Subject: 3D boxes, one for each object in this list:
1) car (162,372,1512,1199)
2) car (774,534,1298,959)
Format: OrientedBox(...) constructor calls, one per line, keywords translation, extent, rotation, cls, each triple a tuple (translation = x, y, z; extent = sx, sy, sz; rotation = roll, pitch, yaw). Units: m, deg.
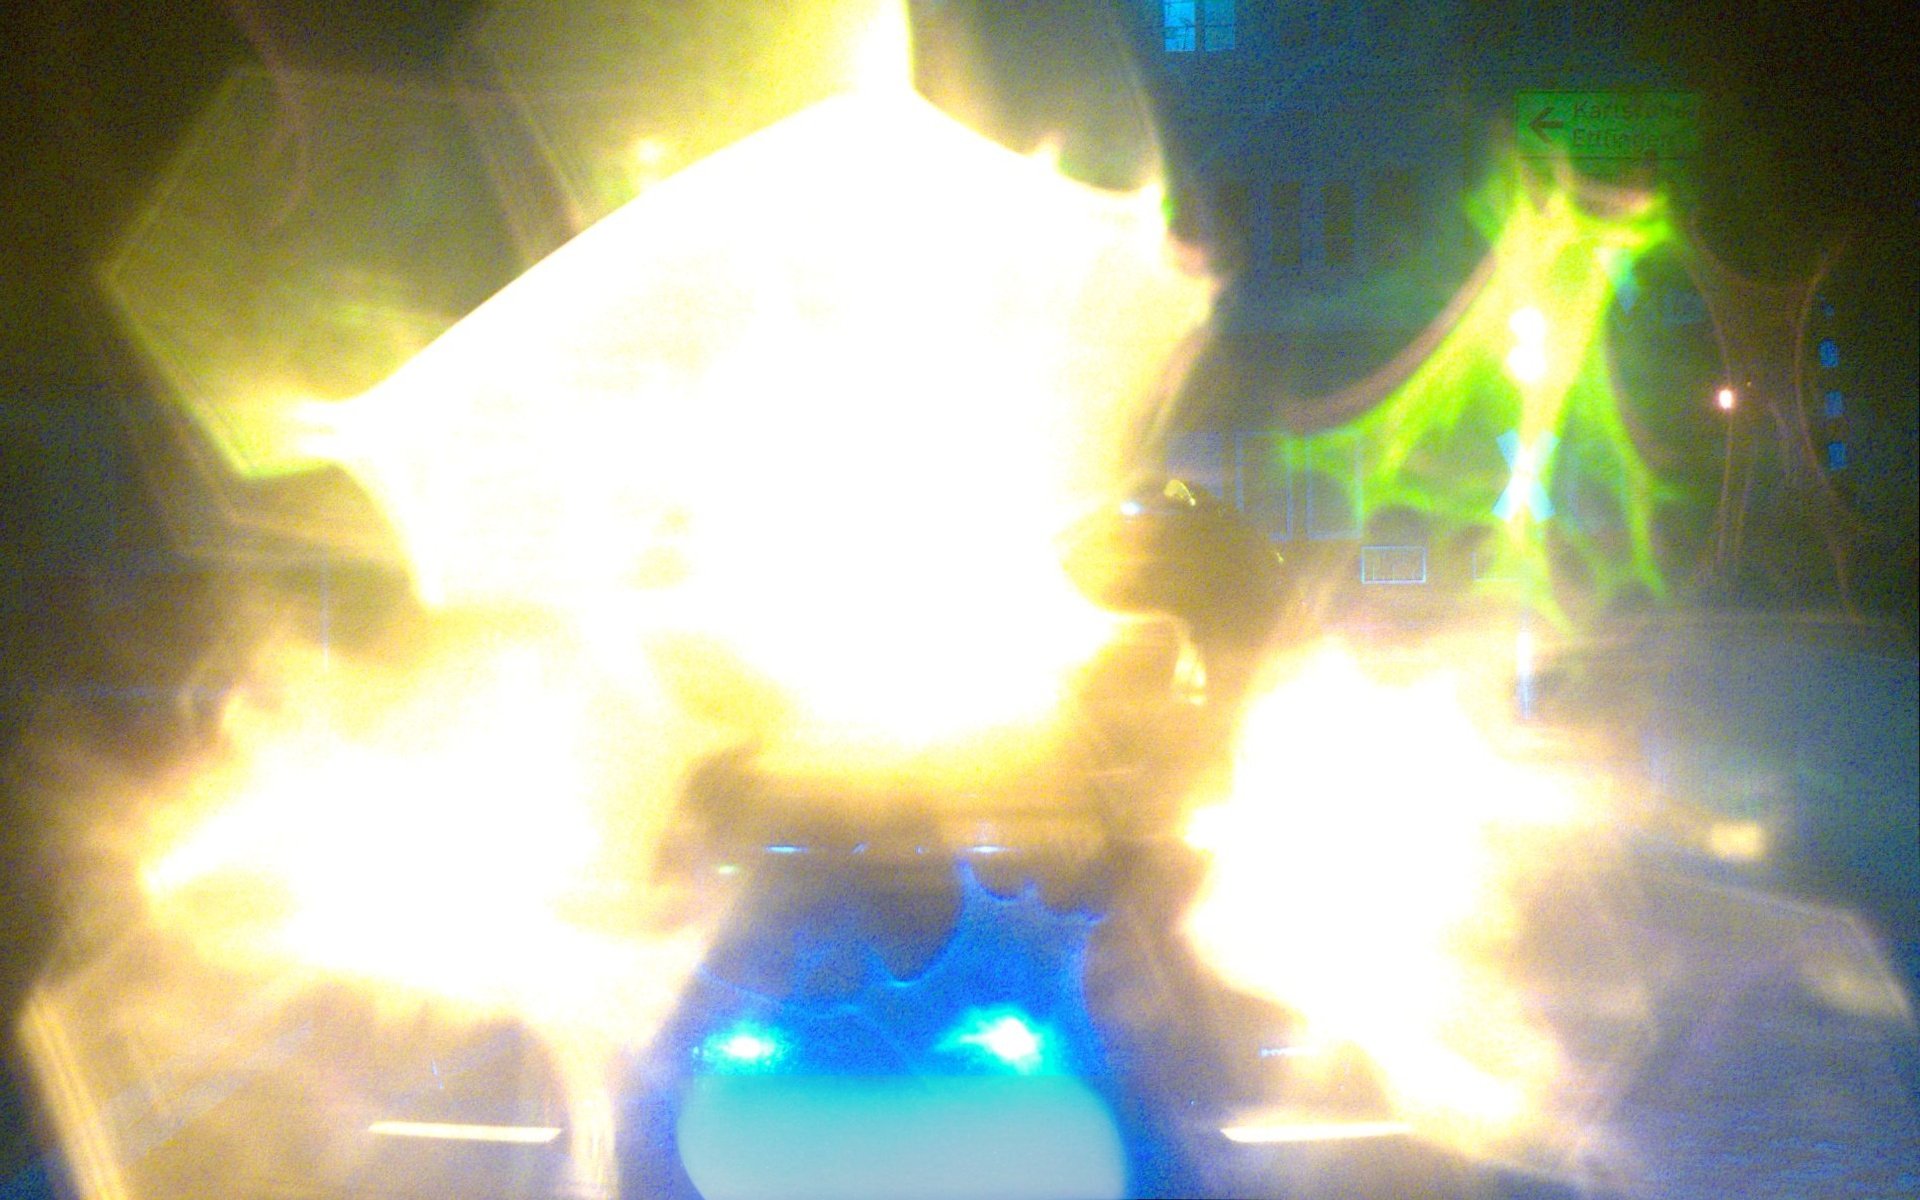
OrientedBox(translation=(-0.145, 0.484, 6.530), extent=(1.791, 1.675, 3.905), rotation=(0, 2, 1), cls="car")
OrientedBox(translation=(0.349, 0.457, 13.525), extent=(1.744, 1.410, 4.000), rotation=(-1, 1, 3), cls="car")
